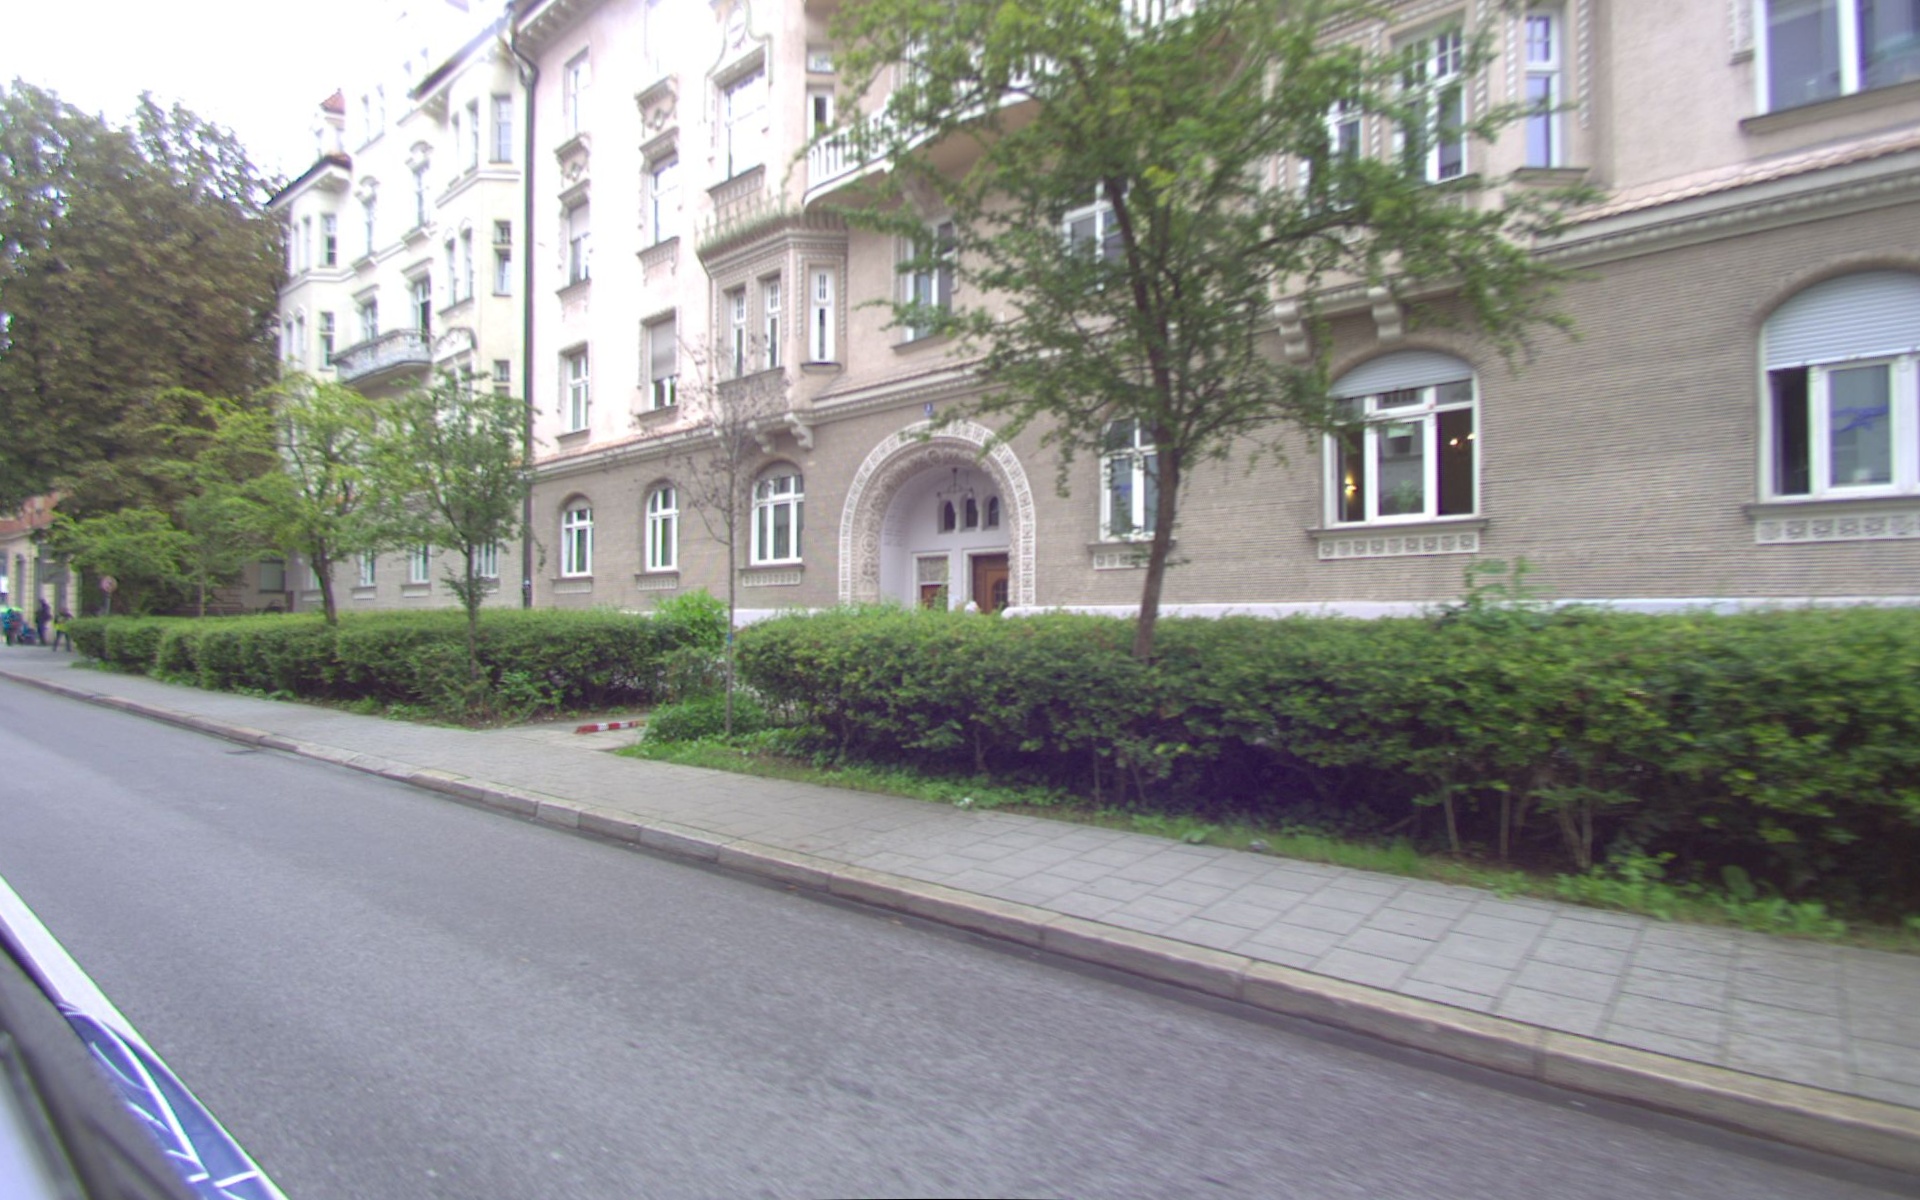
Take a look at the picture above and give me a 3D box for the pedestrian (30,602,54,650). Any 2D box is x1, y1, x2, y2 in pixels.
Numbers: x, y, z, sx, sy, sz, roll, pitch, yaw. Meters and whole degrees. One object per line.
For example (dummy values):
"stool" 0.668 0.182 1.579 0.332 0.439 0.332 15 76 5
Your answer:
"pedestrian" -38.278 1.088 42.187 0.661 1.971 0.617 -1 -2 40

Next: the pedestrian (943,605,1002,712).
"pedestrian" 0.196 0.892 15.736 0.718 1.623 0.605 -1 -2 28

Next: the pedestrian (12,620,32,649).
"pedestrian" -40.610 1.500 43.821 0.577 1.253 0.539 -1 -2 40

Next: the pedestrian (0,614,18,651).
"pedestrian" -41.231 1.403 43.771 0.661 1.601 0.617 -1 -2 40

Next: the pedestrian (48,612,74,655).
"pedestrian" -34.292 1.271 38.595 0.661 1.633 0.617 -1 -2 40

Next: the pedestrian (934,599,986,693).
"pedestrian" 0.002 0.811 18.057 0.718 1.623 0.605 -1 -2 28
